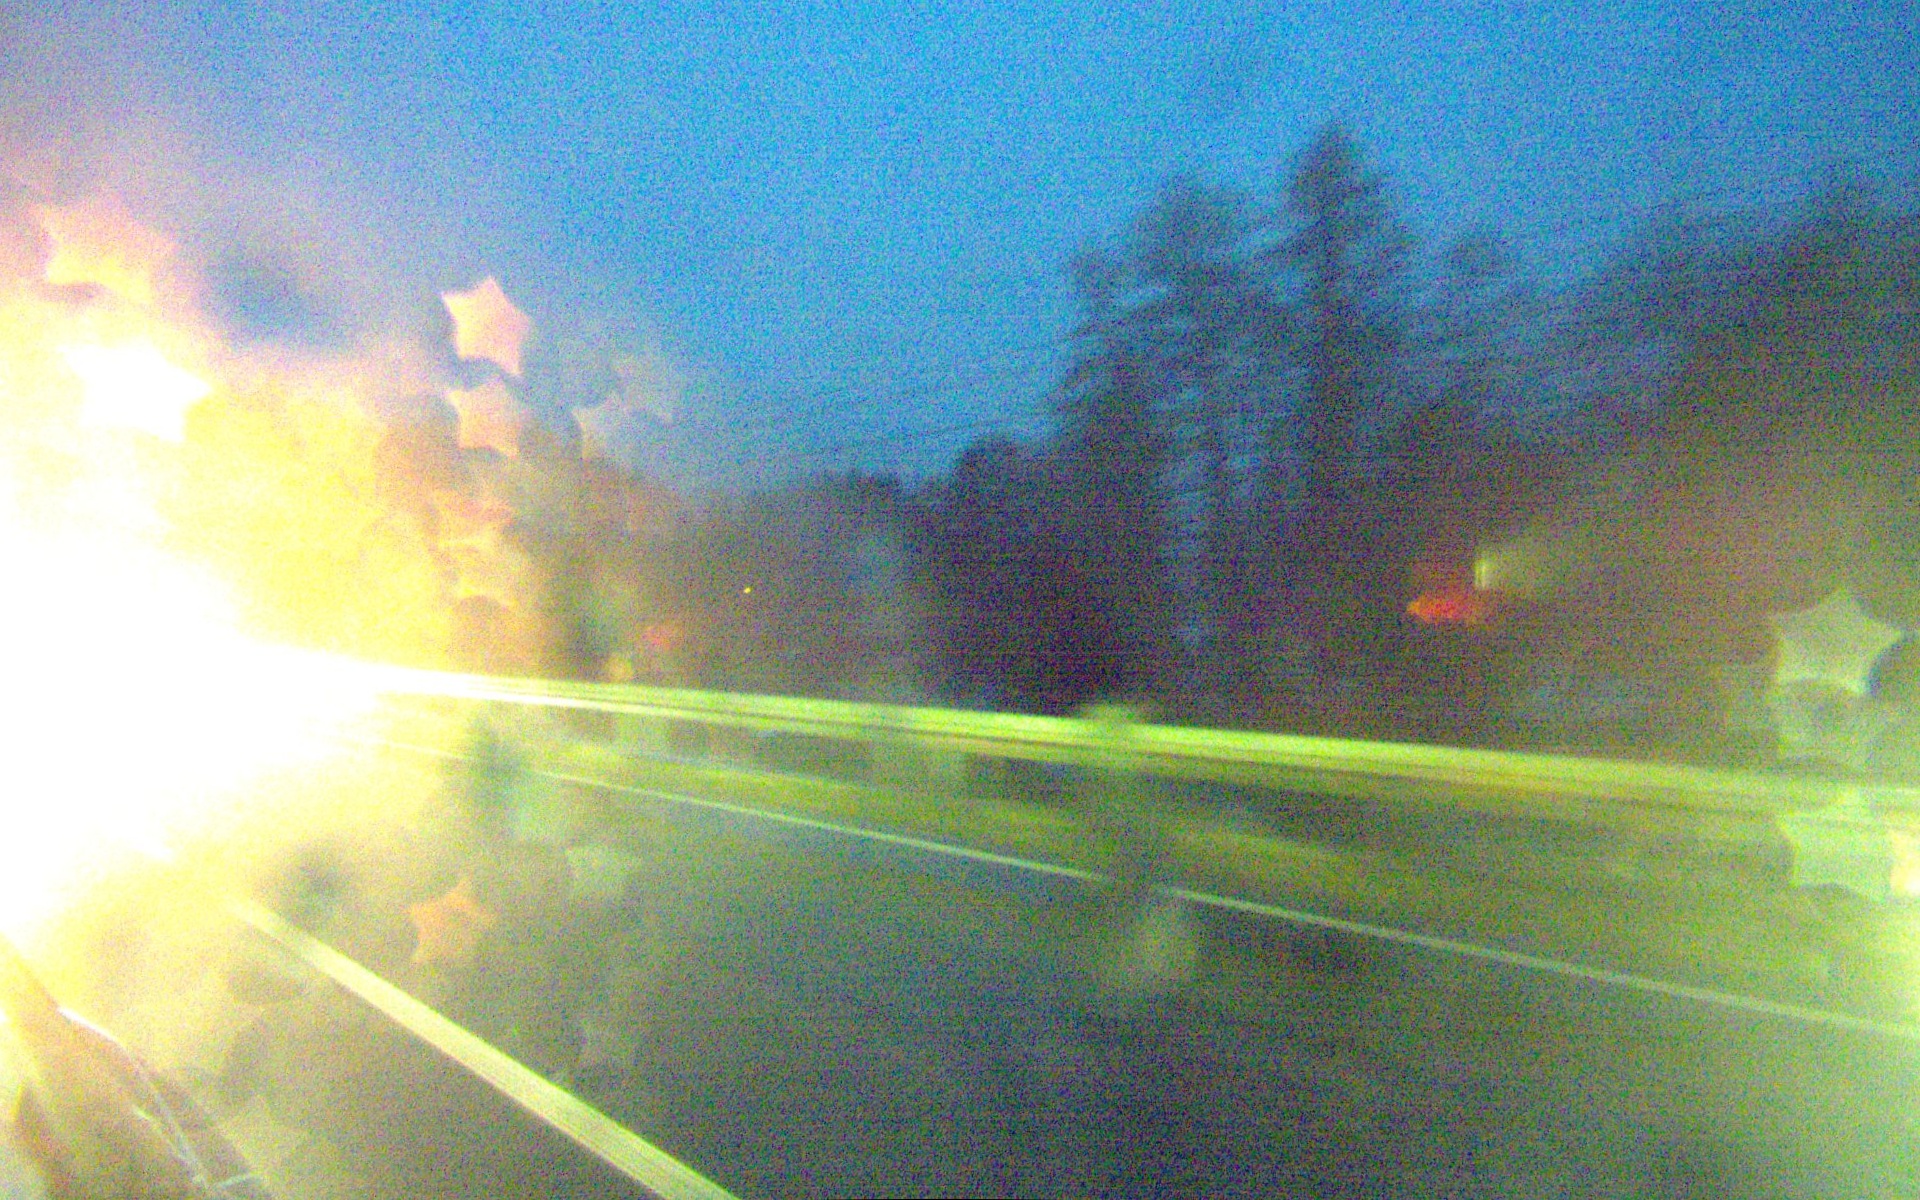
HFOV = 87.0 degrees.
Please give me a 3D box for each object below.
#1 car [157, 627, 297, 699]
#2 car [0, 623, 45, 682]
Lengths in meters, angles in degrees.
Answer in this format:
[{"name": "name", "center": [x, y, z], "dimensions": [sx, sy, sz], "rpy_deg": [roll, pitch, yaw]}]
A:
[{"name": "car", "center": [-17.887, 1.464, 24.627], "dimensions": [4.439, 1.566, 1.811], "rpy_deg": [-2, -2, 41]}, {"name": "car", "center": [-28.771, 1.529, 29.974], "dimensions": [4.819, 1.651, 1.926], "rpy_deg": [-1, -3, 42]}]
